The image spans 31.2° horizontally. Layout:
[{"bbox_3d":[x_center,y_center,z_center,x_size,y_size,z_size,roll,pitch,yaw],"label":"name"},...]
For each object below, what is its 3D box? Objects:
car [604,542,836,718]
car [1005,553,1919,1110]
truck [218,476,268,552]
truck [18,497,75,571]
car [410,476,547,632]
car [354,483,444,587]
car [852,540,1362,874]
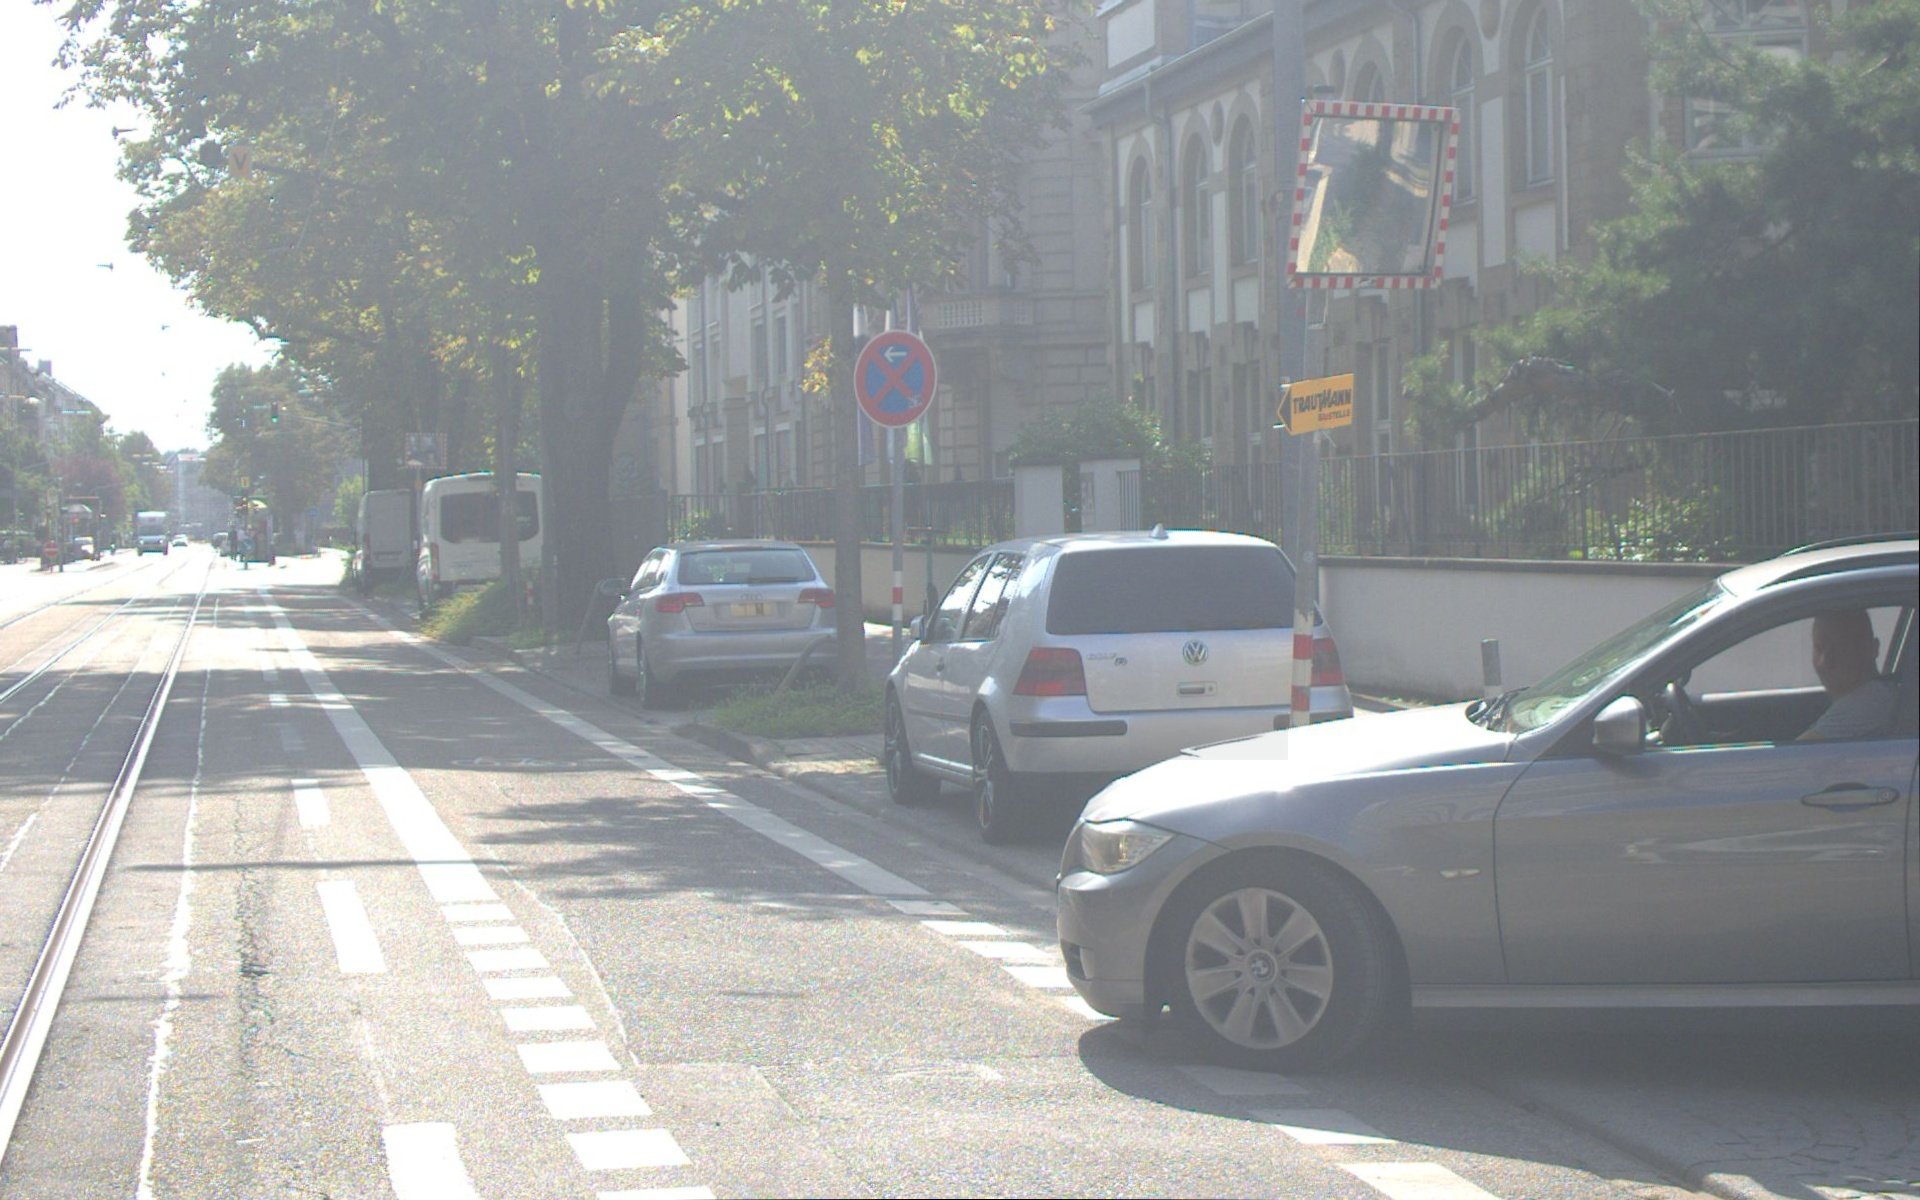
[{"bbox_3d":[-2.171,0.217,30.302,1.594,1.413,3.635,-1,1,-11],"label":"car"},{"bbox_3d":[2.484,0.584,9.720,4.423,1.405,1.805,0,1,13],"label":"car"},{"bbox_3d":[-29.993,-3.603,143.757,1.860,3.120,4.354,-1,1,-14],"label":"truck"},{"bbox_3d":[-37.785,-2.738,142.264,1.993,2.965,4.572,-1,1,-12],"label":"truck"},{"bbox_3d":[-8.138,-0.796,57.806,2.004,2.482,4.478,-1,1,-11],"label":"car"},{"bbox_3d":[-13.759,-1.598,84.101,2.004,2.466,4.478,-1,1,-11],"label":"car"},{"bbox_3d":[0.603,0.434,16.912,1.689,1.413,3.635,-1,1,-11],"label":"car"}]
